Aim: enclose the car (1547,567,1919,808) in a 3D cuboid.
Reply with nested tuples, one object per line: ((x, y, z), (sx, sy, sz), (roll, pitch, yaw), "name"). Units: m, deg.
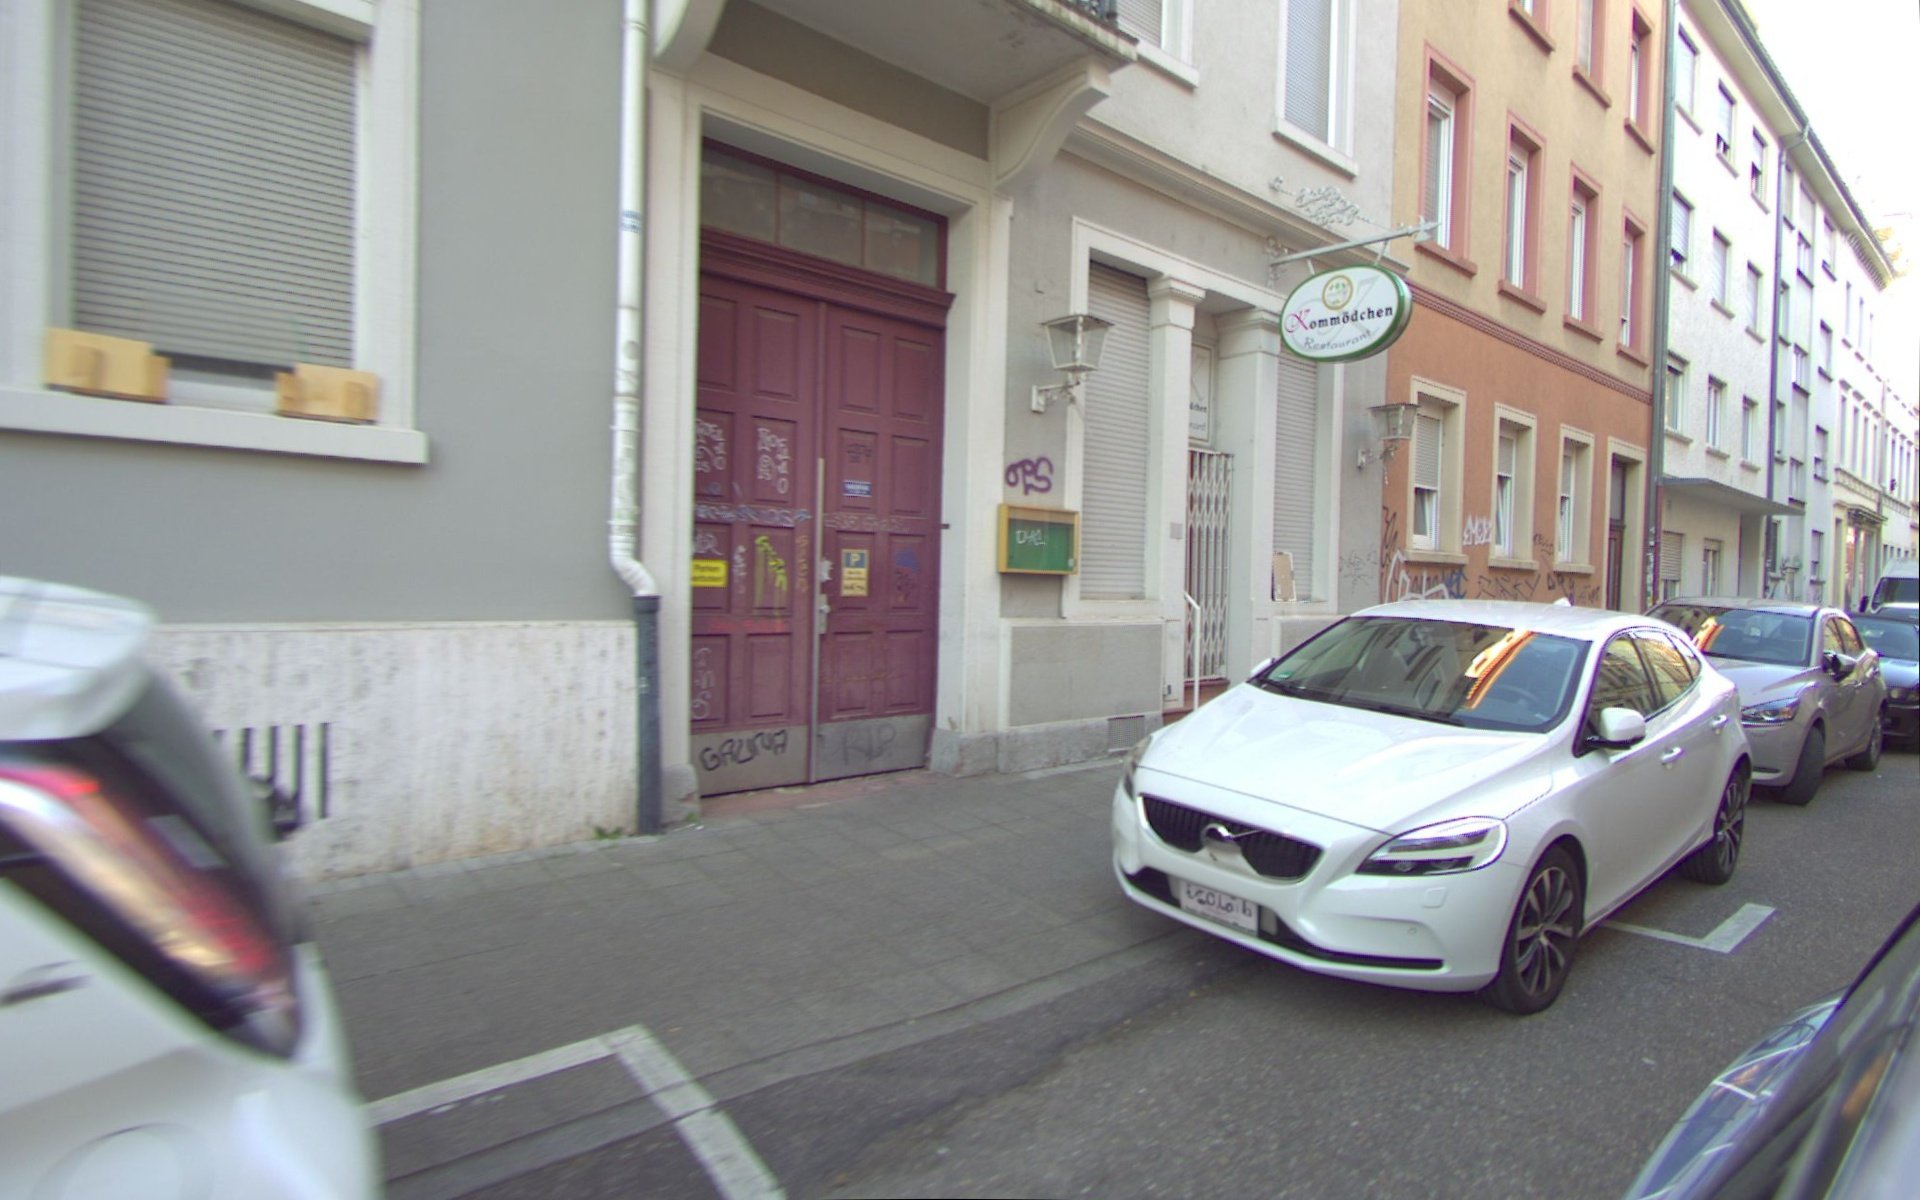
((6.835, 0.584, 8.755), (4.114, 1.617, 1.683), (0, 0, -39), "car")

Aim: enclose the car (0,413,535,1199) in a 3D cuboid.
((-2.521, 0.603, 0.786), (3.724, 1.607, 1.638), (0, 0, -43), "car")

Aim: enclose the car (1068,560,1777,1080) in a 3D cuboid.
((2.539, 0.640, 4.988), (4.118, 1.529, 1.681), (0, 0, -42), "car")

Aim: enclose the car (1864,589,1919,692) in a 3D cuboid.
((16.227, 0.624, 16.698), (3.796, 1.579, 1.680), (0, 0, -44), "car")

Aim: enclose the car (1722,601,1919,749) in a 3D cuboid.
((10.416, 0.721, 11.690), (4.417, 1.412, 1.770), (0, 0, -42), "car")

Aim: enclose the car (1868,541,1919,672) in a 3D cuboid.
((21.168, 0.127, 21.369), (5.914, 2.545, 2.050), (0, 0, -39), "car")
